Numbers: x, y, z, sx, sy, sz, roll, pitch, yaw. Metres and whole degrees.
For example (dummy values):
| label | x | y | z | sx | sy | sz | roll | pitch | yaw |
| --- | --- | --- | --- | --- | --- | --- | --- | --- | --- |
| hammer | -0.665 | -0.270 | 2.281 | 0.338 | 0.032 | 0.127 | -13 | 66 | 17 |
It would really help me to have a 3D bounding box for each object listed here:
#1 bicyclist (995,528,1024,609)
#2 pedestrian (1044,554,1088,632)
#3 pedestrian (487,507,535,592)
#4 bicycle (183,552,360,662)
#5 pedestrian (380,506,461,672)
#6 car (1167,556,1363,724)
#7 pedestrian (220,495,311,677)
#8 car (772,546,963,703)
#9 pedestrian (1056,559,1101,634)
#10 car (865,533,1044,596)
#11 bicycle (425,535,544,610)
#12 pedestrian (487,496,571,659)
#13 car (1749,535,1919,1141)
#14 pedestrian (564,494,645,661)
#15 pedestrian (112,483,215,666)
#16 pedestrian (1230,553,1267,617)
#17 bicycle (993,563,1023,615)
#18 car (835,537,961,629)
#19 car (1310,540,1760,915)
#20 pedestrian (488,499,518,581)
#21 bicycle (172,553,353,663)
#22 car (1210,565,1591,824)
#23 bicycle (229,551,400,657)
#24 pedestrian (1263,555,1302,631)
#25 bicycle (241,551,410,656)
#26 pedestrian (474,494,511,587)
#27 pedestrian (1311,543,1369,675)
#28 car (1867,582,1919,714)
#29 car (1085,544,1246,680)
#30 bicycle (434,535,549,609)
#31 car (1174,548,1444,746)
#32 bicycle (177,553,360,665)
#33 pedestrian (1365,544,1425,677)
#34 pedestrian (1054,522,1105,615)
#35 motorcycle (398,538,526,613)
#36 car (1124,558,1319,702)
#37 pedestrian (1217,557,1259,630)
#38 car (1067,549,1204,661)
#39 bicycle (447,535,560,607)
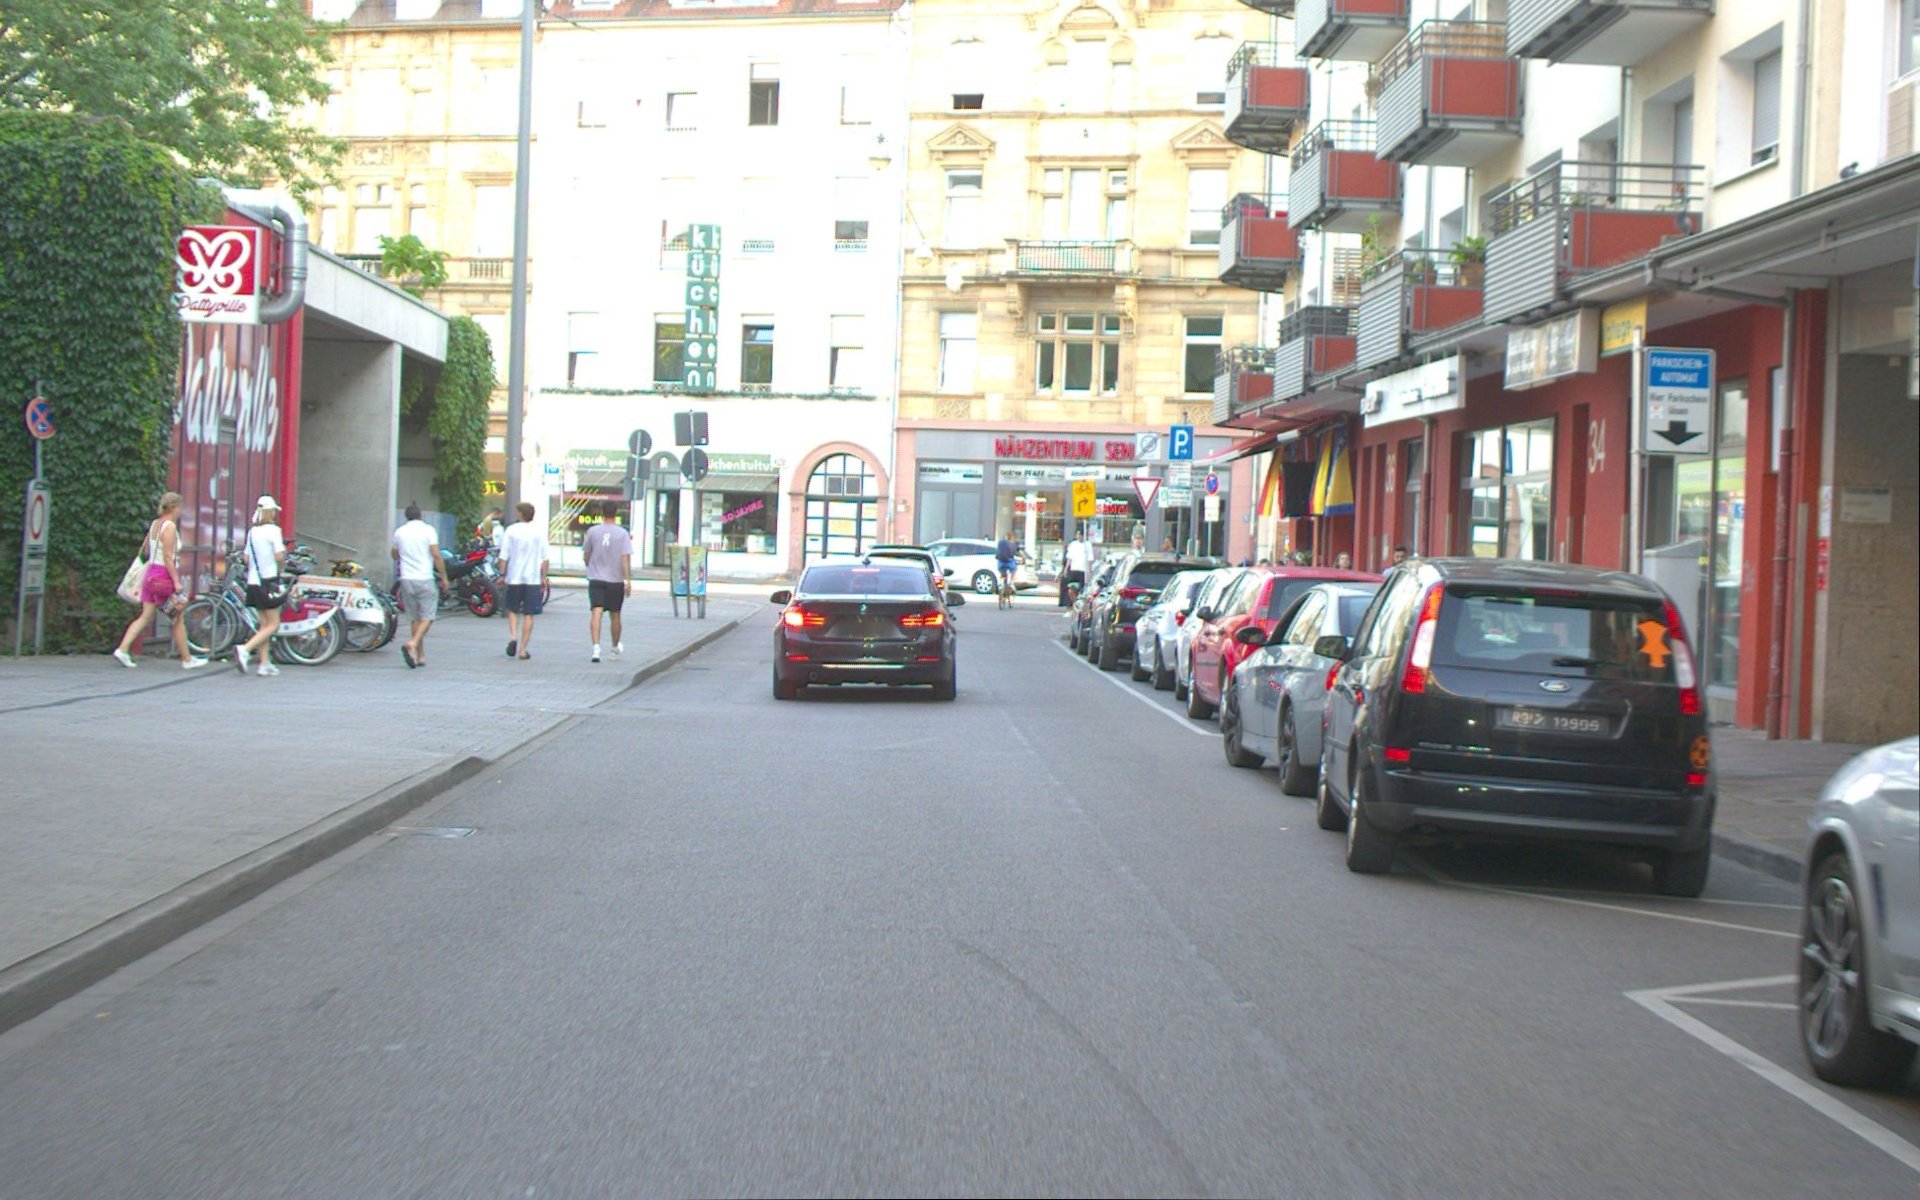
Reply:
| label | x | y | z | sx | sy | sz | roll | pitch | yaw |
| --- | --- | --- | --- | --- | --- | --- | --- | --- | --- |
| bicyclist | 1.093 | -0.692 | 75.666 | 0.523 | 1.750 | 0.620 | 3 | 1 | 3 |
| pedestrian | 2.244 | -0.152 | 72.589 | 0.724 | 1.603 | 0.650 | 3 | 1 | -10 |
| pedestrian | -9.221 | -1.038 | 70.631 | 0.673 | 1.740 | 0.655 | 2 | 2 | 39 |
| bicycle | -7.447 | 0.074 | 37.220 | 1.794 | 1.104 | 0.500 | 2 | 1 | -2 |
| pedestrian | -5.808 | -0.123 | 37.064 | 0.717 | 1.748 | 0.848 | 2 | 1 | -2 |
| car | 3.146 | 0.372 | 36.103 | 1.606 | 1.507 | 4.048 | 4 | 1 | 0 |
| pedestrian | -6.833 | -0.149 | 33.854 | 0.649 | 1.744 | 0.986 | 2 | 1 | -1 |
| car | -0.904 | 0.194 | 35.214 | 1.765 | 1.370 | 4.791 | 3 | 1 | 0 |
| pedestrian | 2.485 | -0.071 | 71.921 | 0.735 | 1.508 | 0.650 | 3 | 1 | -10 |
| car | -0.141 | -0.955 | 91.699 | 4.356 | 1.557 | 1.866 | 2 | 0 | 22 |
| bicycle | -7.689 | -0.446 | 55.665 | 1.794 | 1.104 | 0.500 | 3 | 1 | 2 |
| pedestrian | -4.959 | -0.264 | 39.621 | 0.741 | 1.806 | 1.009 | 4 | 1 | -1 |
| car | 3.582 | 0.737 | 9.084 | 1.752 | 1.662 | 4.757 | 4 | 1 | 0 |
| pedestrian | -4.143 | -0.269 | 40.145 | 0.744 | 1.887 | 1.050 | 3 | 1 | 0 |
| pedestrian | -7.874 | -0.259 | 34.008 | 0.753 | 1.743 | 0.846 | 3 | 1 | -1 |
| pedestrian | 5.417 | -0.287 | 64.622 | 0.417 | 1.197 | 0.537 | -2 | 1 | -43 |
| bicycle | 1.068 | -0.247 | 75.697 | 0.536 | 1.104 | 1.800 | 3 | 1 | 3 |
| car | -1.041 | -0.322 | 59.766 | 1.877 | 1.468 | 4.000 | 1 | 1 | 3 |
| car | 2.914 | 0.556 | 18.325 | 1.794 | 1.604 | 4.486 | 4 | 1 | 3 |
| pedestrian | -9.177 | -1.212 | 69.069 | 0.500 | 1.637 | 0.520 | 1 | 1 | 1 |
| bicycle | -7.435 | 0.082 | 36.685 | 1.794 | 1.104 | 0.500 | 2 | 1 | -2 |
| car | 2.908 | 0.564 | 23.703 | 1.736 | 1.410 | 4.683 | 4 | 1 | -3 |
| bicycle | -7.291 | 0.041 | 38.862 | 1.794 | 1.104 | 0.500 | 3 | 1 | 2 |
| pedestrian | 5.807 | -0.127 | 61.885 | 0.606 | 1.343 | 0.696 | 0 | 1 | -2 |
| bicycle | -7.286 | 0.037 | 39.494 | 1.794 | 1.104 | 0.500 | 3 | 1 | 2 |
| pedestrian | -9.479 | -1.206 | 69.752 | 0.583 | 1.875 | 0.633 | 2 | 1 | 5 |
| pedestrian | 4.835 | 0.105 | 43.768 | 0.648 | 1.655 | 0.655 | -1 | 1 | 1 |
| car | 10.944 | 0.540 | 36.248 | 1.739 | 1.332 | 4.000 | 1 | 1 | 1 |
| car | 2.799 | 0.121 | 47.814 | 1.765 | 1.636 | 4.791 | 4 | 1 | -1 |
| bicycle | -7.681 | -0.454 | 56.414 | 1.794 | 1.104 | 0.500 | 3 | 1 | -6 |
| car | 3.113 | 0.364 | 31.567 | 1.712 | 1.507 | 4.653 | 4 | 1 | -3 |
| bicycle | -7.300 | 0.086 | 36.340 | 1.794 | 1.104 | 0.500 | 2 | 1 | -1 |
| pedestrian | 5.522 | 0.125 | 43.650 | 0.648 | 1.655 | 0.794 | -1 | 1 | 1 |
| pedestrian | 2.452 | -0.642 | 70.639 | 0.676 | 1.871 | 0.701 | 2 | 1 | -38 |
| motorcycle | -7.771 | -0.384 | 53.637 | 1.803 | 1.060 | 0.763 | 4 | 1 | 25 |
| car | 3.074 | 0.310 | 41.281 | 1.698 | 1.447 | 4.459 | 4 | 1 | -3 |
| pedestrian | 4.975 | -0.116 | 61.516 | 0.687 | 1.282 | 0.608 | 1 | 0 | 9 |
| car | 2.694 | 0.043 | 53.705 | 1.765 | 1.497 | 4.791 | 4 | 1 | -1 |
| bicycle | -7.719 | -0.491 | 58.140 | 1.794 | 1.104 | 0.500 | 3 | 1 | -1 |
